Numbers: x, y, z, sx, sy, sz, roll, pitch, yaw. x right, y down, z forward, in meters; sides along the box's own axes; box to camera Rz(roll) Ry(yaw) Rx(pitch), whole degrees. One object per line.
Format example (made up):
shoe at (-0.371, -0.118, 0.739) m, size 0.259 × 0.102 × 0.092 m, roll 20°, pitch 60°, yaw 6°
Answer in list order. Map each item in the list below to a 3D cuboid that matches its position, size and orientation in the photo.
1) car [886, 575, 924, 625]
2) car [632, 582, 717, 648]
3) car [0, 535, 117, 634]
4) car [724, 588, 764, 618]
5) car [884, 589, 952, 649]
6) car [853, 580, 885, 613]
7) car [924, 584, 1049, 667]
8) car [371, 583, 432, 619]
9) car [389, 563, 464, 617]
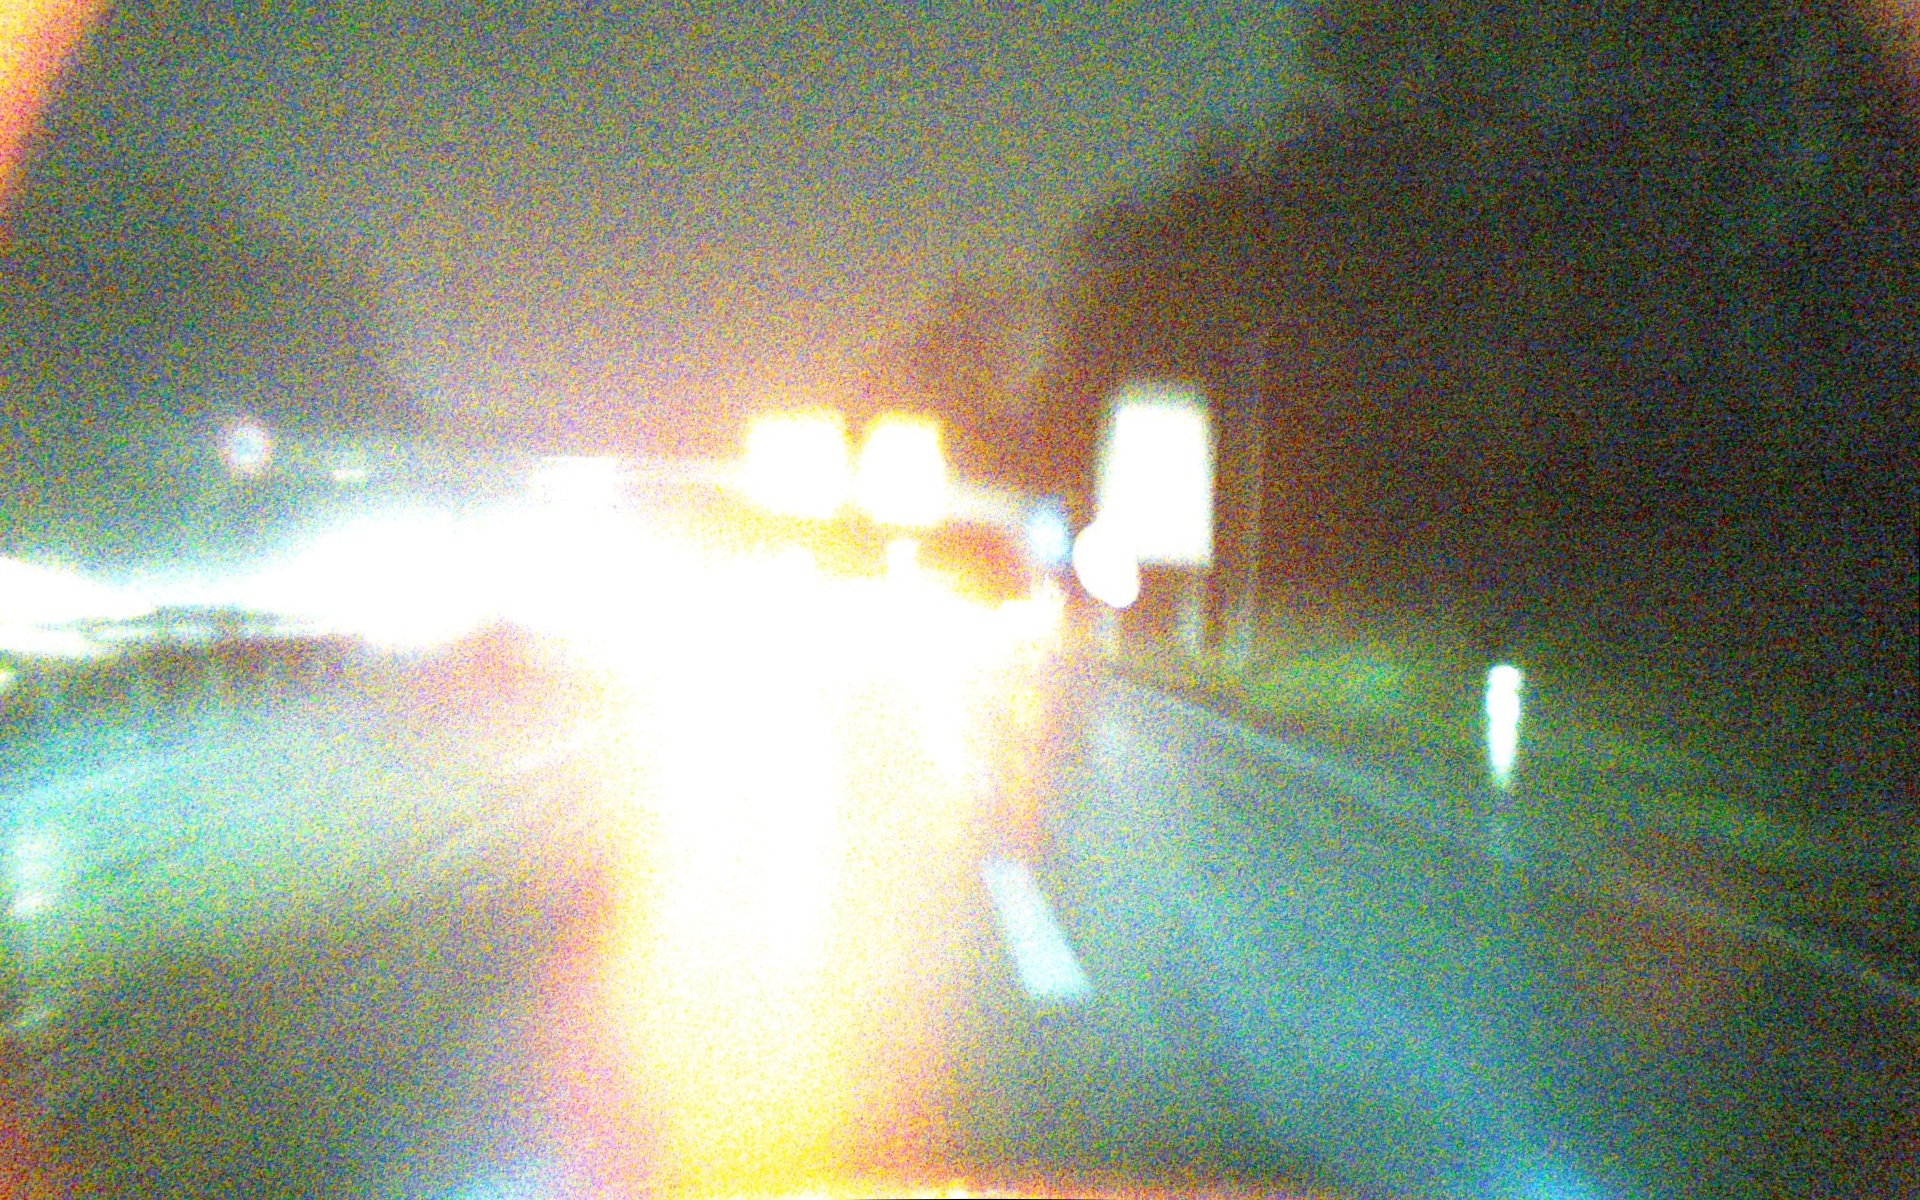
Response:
car at (-2.344, -0.019, 69.746) m, size 1.523 × 2.049 × 3.998 m, roll 1°, pitch 1°, yaw -3°
car at (-7.270, 0.374, 42.416) m, size 1.856 × 1.577 × 3.995 m, roll 1°, pitch 0°, yaw -6°
car at (-17.351, -0.298, 30.929) m, size 1.522 × 1.753 × 3.161 m, roll 2°, pitch 0°, yaw 0°
car at (-11.606, 0.151, 89.003) m, size 1.858 × 1.572 × 3.997 m, roll 1°, pitch 0°, yaw -4°
car at (-1.161, 0.504, 44.283) m, size 1.673 × 1.513 × 3.664 m, roll 1°, pitch 0°, yaw -4°
car at (-5.861, -0.204, 105.897) m, size 1.954 × 2.049 × 3.997 m, roll 1°, pitch 0°, yaw -4°
car at (0.425, 0.458, 30.987) m, size 1.924 × 1.405 × 4.045 m, roll 2°, pitch 0°, yaw -5°
car at (-27.587, 0.059, 81.835) m, size 1.805 × 1.676 × 4.329 m, roll 1°, pitch 0°, yaw -5°
car at (-20.902, -0.370, 64.910) m, size 1.955 × 2.049 × 3.995 m, roll 1°, pitch 0°, yaw -6°
